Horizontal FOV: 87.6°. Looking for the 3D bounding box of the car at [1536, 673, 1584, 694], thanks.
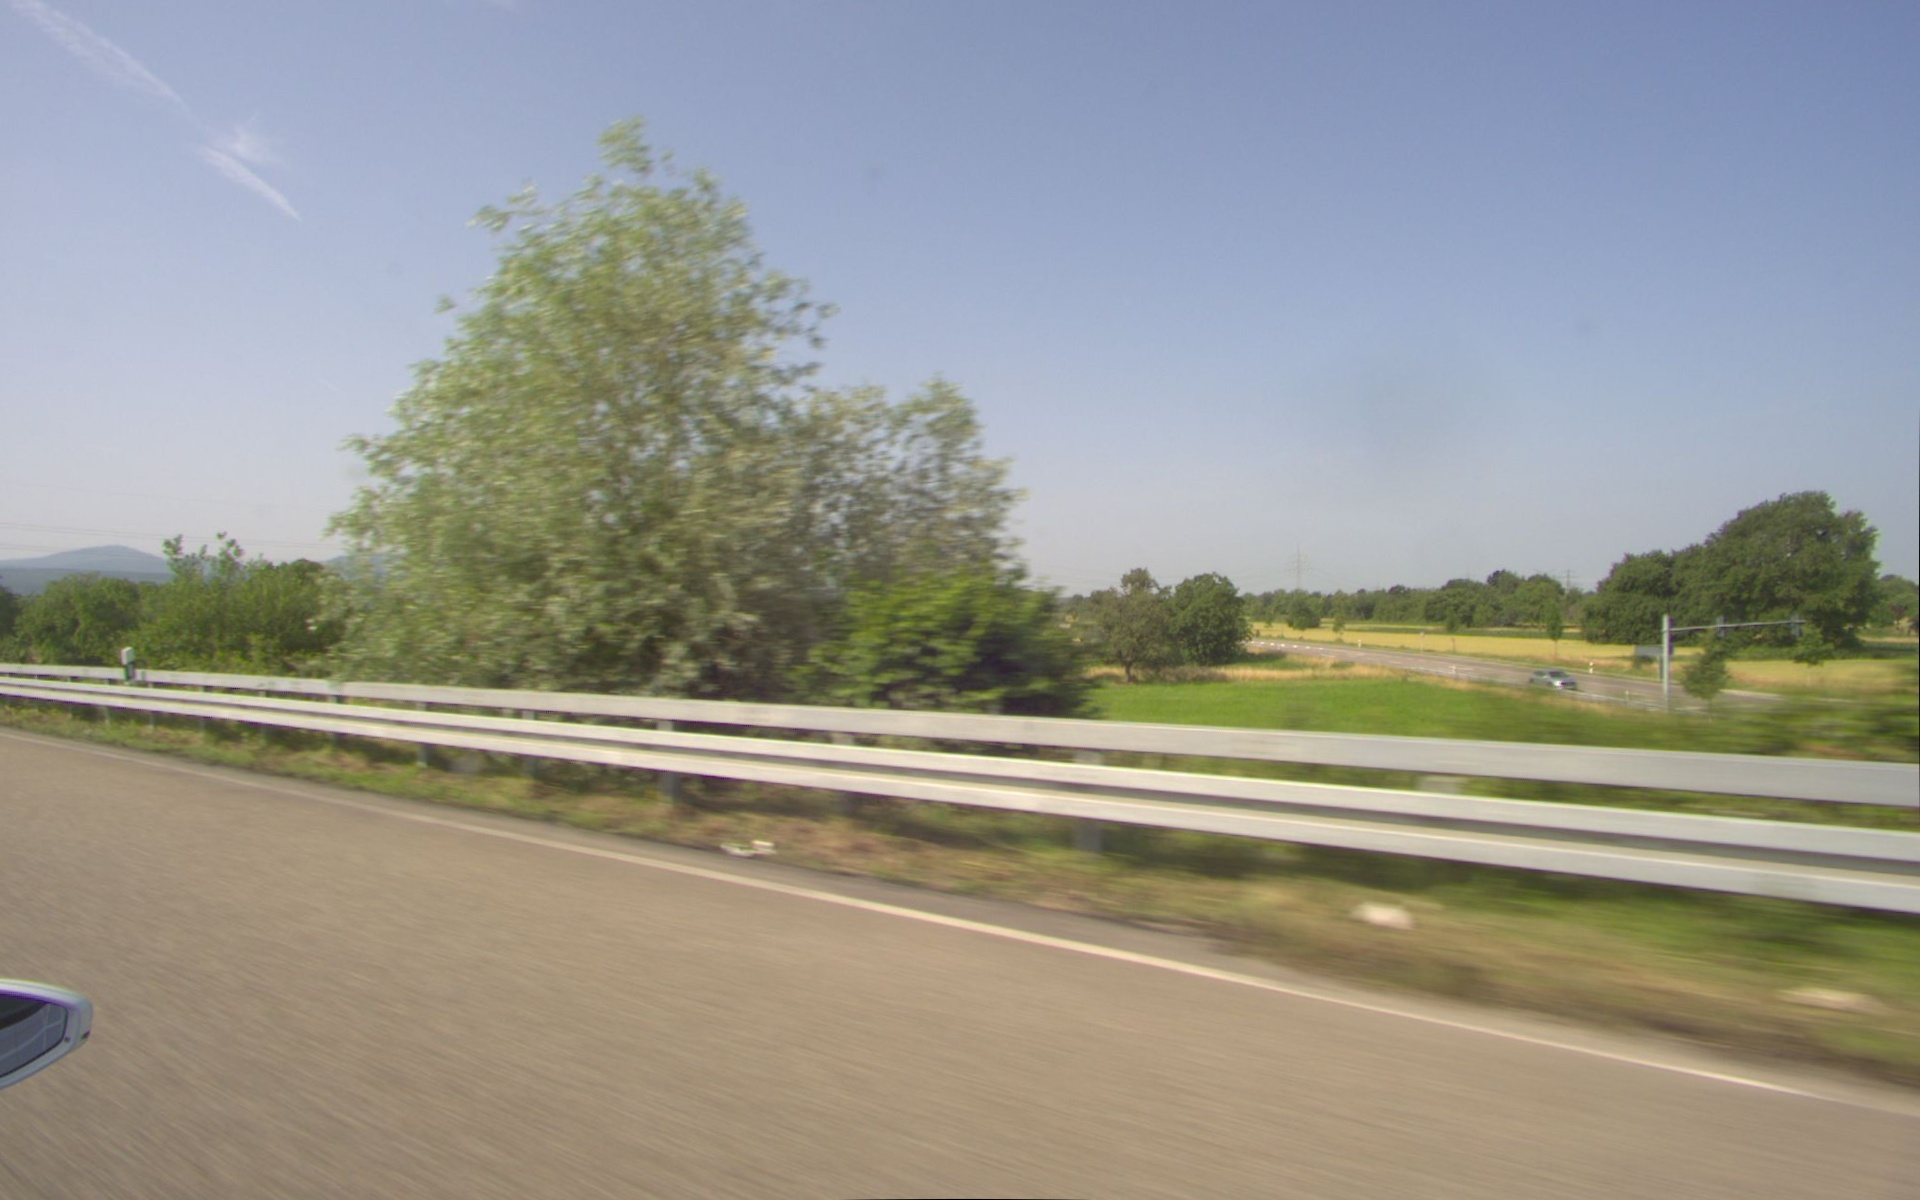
[{"bbox_3d":[46.658,6.508,77.967,1.675,1.494,3.608,1,-4,2],"label":"car"}]
